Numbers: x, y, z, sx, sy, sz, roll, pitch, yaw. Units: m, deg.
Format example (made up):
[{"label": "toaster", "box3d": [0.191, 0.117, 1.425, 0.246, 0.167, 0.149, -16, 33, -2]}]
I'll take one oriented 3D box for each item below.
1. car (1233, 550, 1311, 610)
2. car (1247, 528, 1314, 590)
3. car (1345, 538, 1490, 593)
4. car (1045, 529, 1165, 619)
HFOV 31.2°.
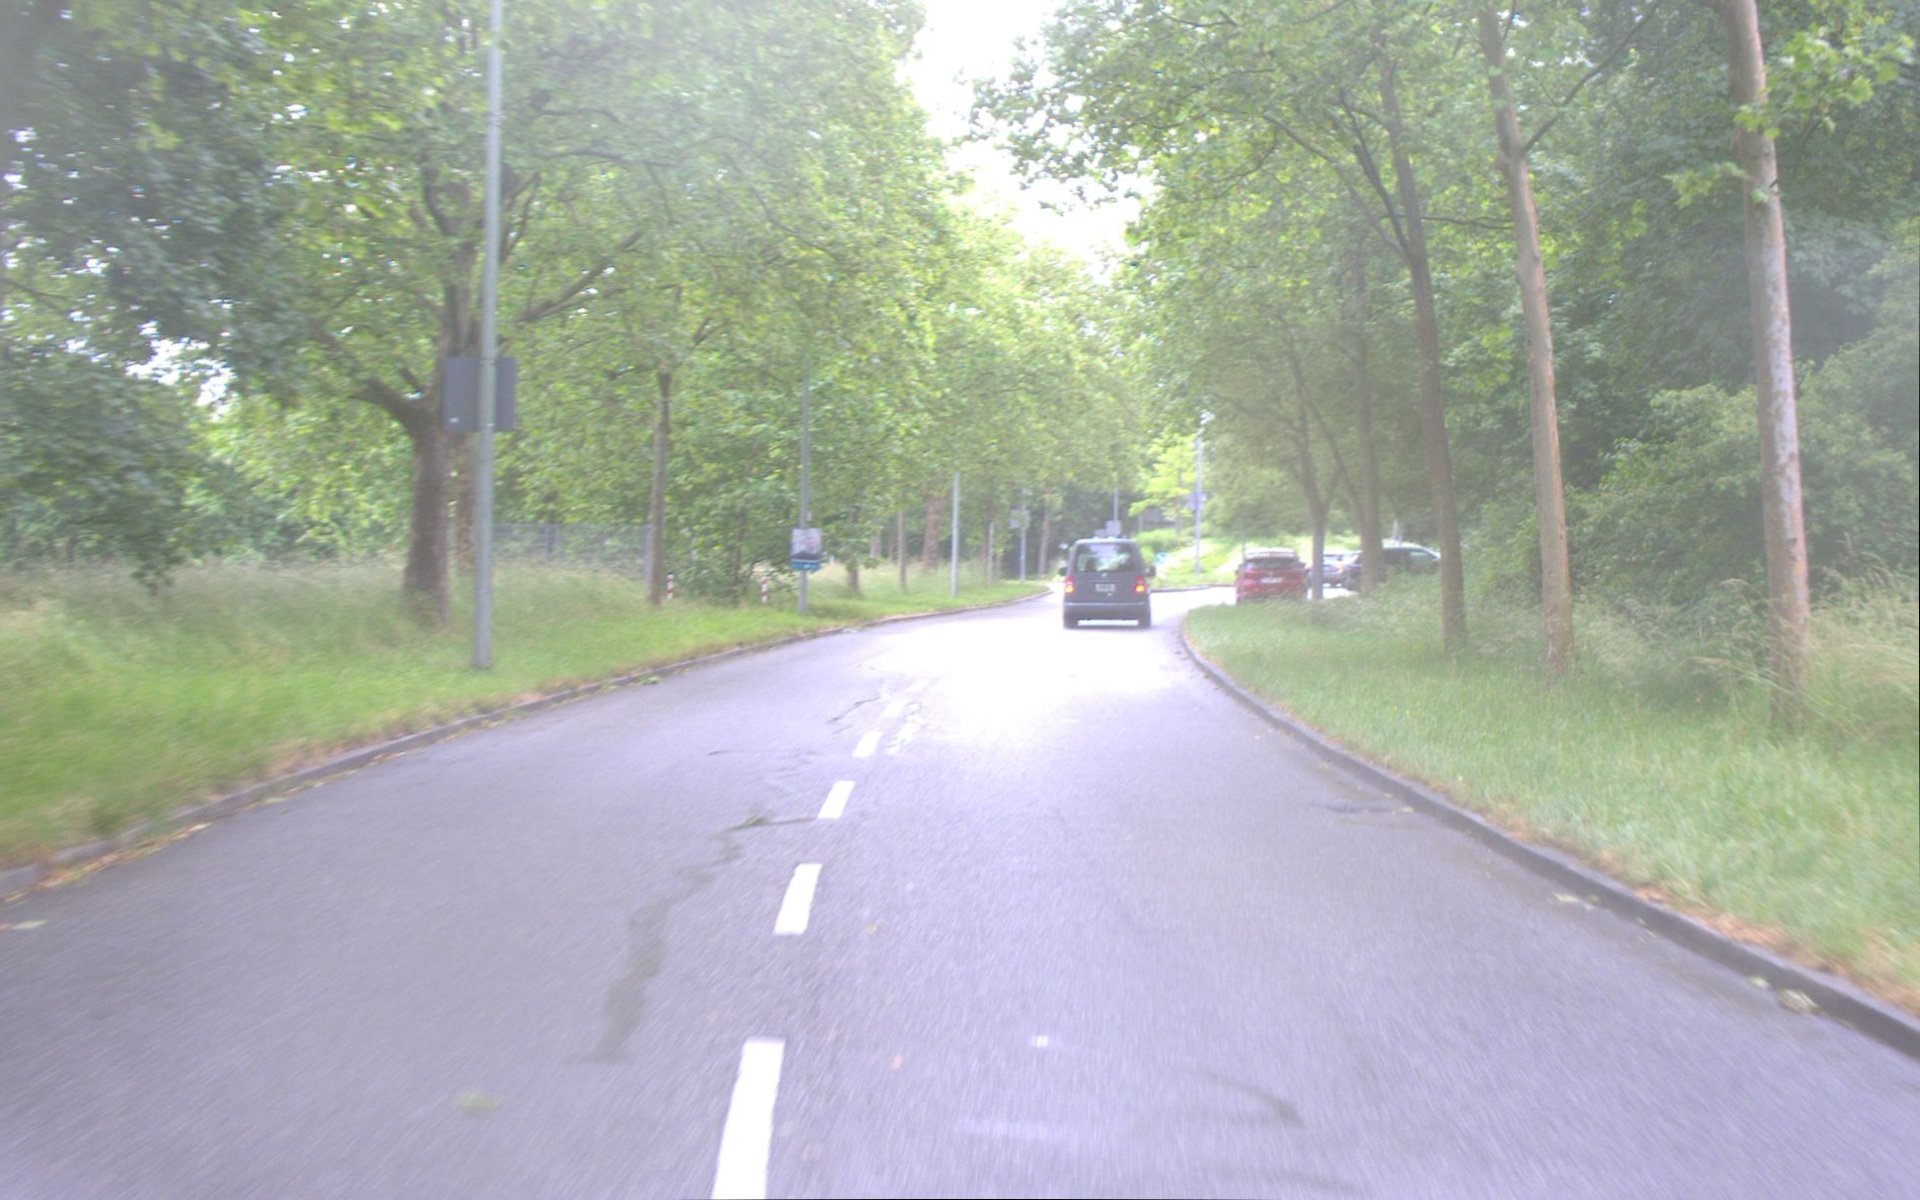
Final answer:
[{"label": "car", "box3d": [7.509, -0.484, 82.498, 1.797, 1.367, 3.743, -1, 0, 6]}, {"label": "car", "box3d": [8.629, -1.081, 92.344, 1.728, 1.586, 4.252, -1, 0, 6]}, {"label": "car", "box3d": [14.411, -1.091, 108.201, 4.472, 1.674, 1.767, 1, 2, 8]}, {"label": "car", "box3d": [3.042, -0.554, 71.276, 1.919, 1.795, 3.788, 1, 1, 11]}]
